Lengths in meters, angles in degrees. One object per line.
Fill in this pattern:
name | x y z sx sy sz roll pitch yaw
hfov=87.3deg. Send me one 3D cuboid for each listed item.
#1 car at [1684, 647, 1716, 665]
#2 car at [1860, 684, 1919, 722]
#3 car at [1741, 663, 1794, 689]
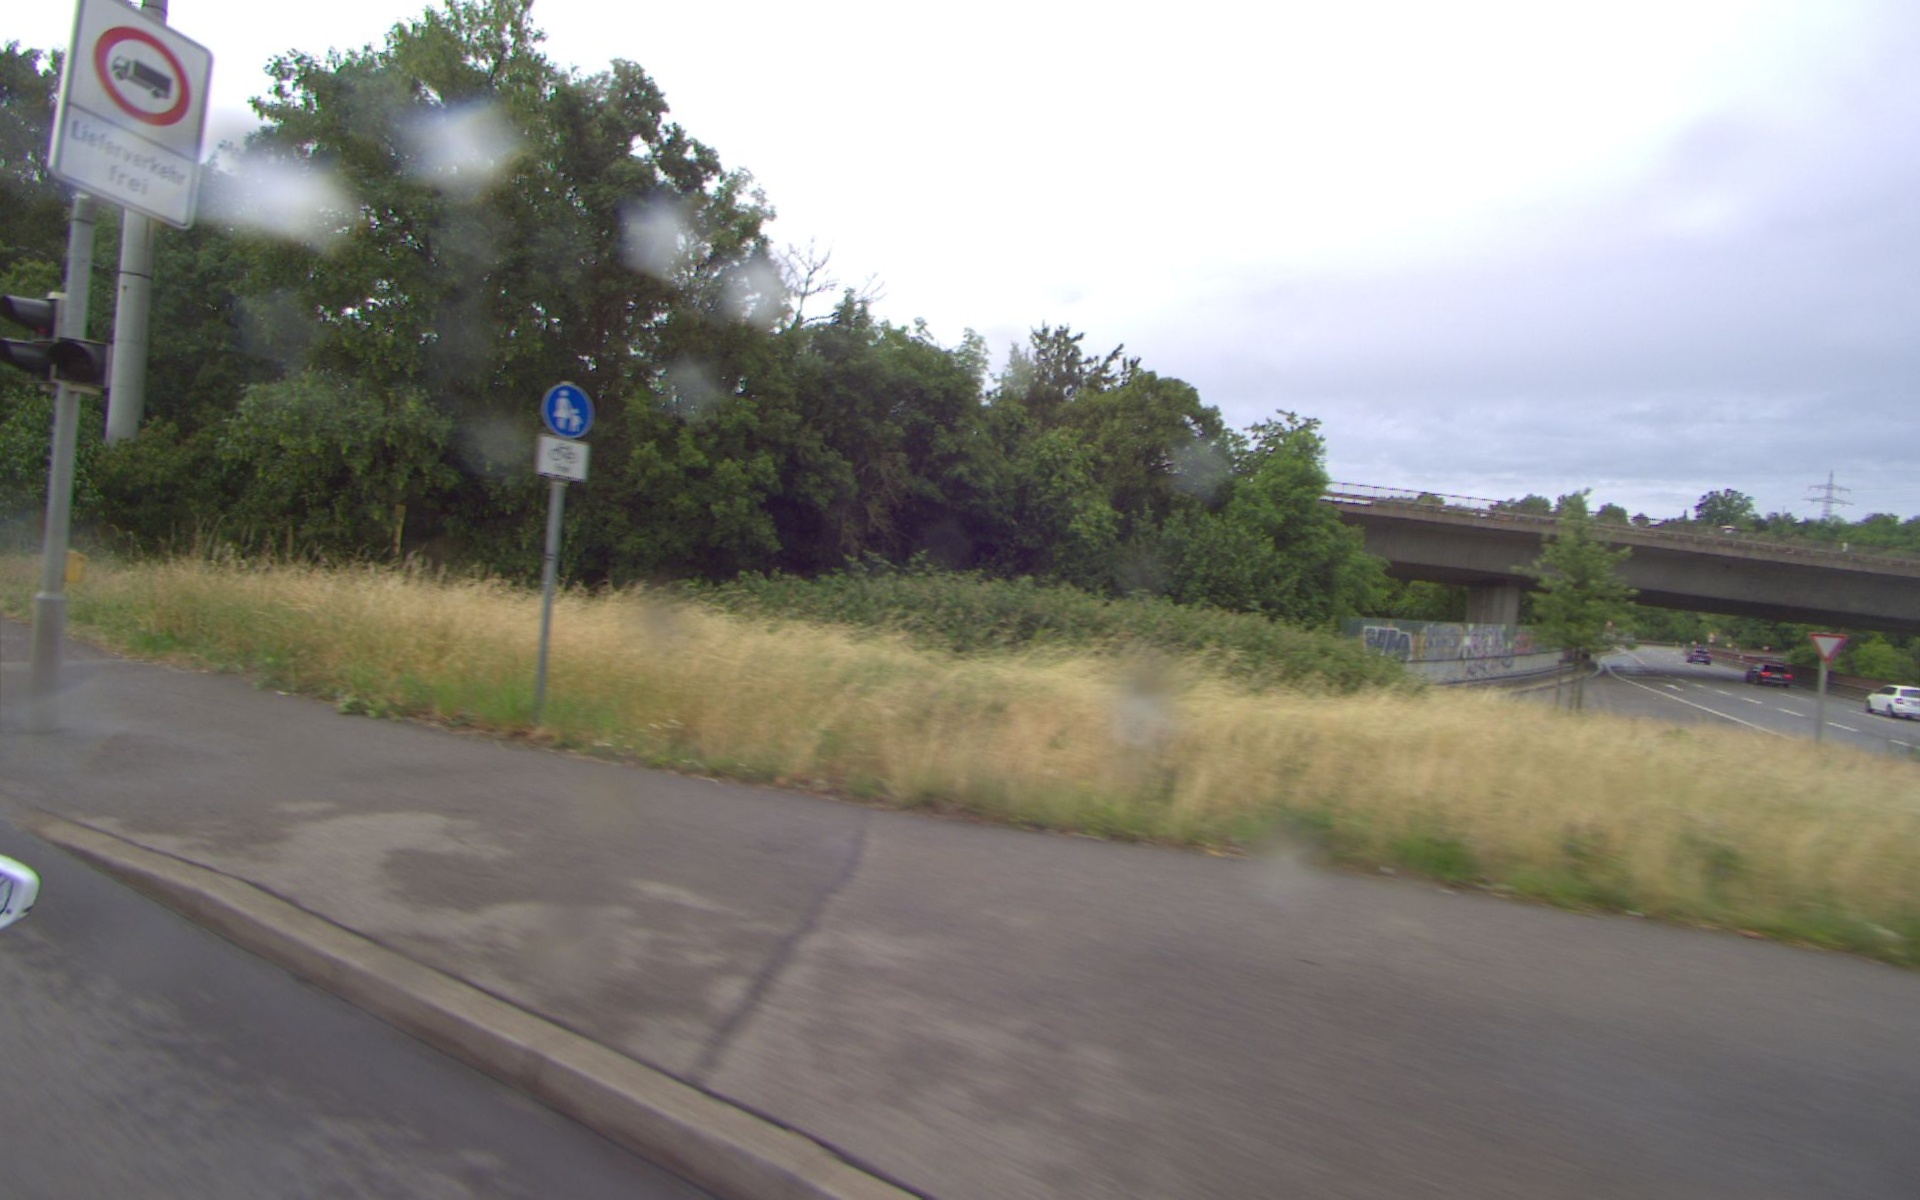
car | 75.884 5.763 103.217 1.869 1.504 3.995 7 0 27
car | 43.188 4.738 45.991 1.869 1.504 3.995 7 0 27
car | 54.427 5.107 67.875 1.869 1.504 3.995 7 0 27
